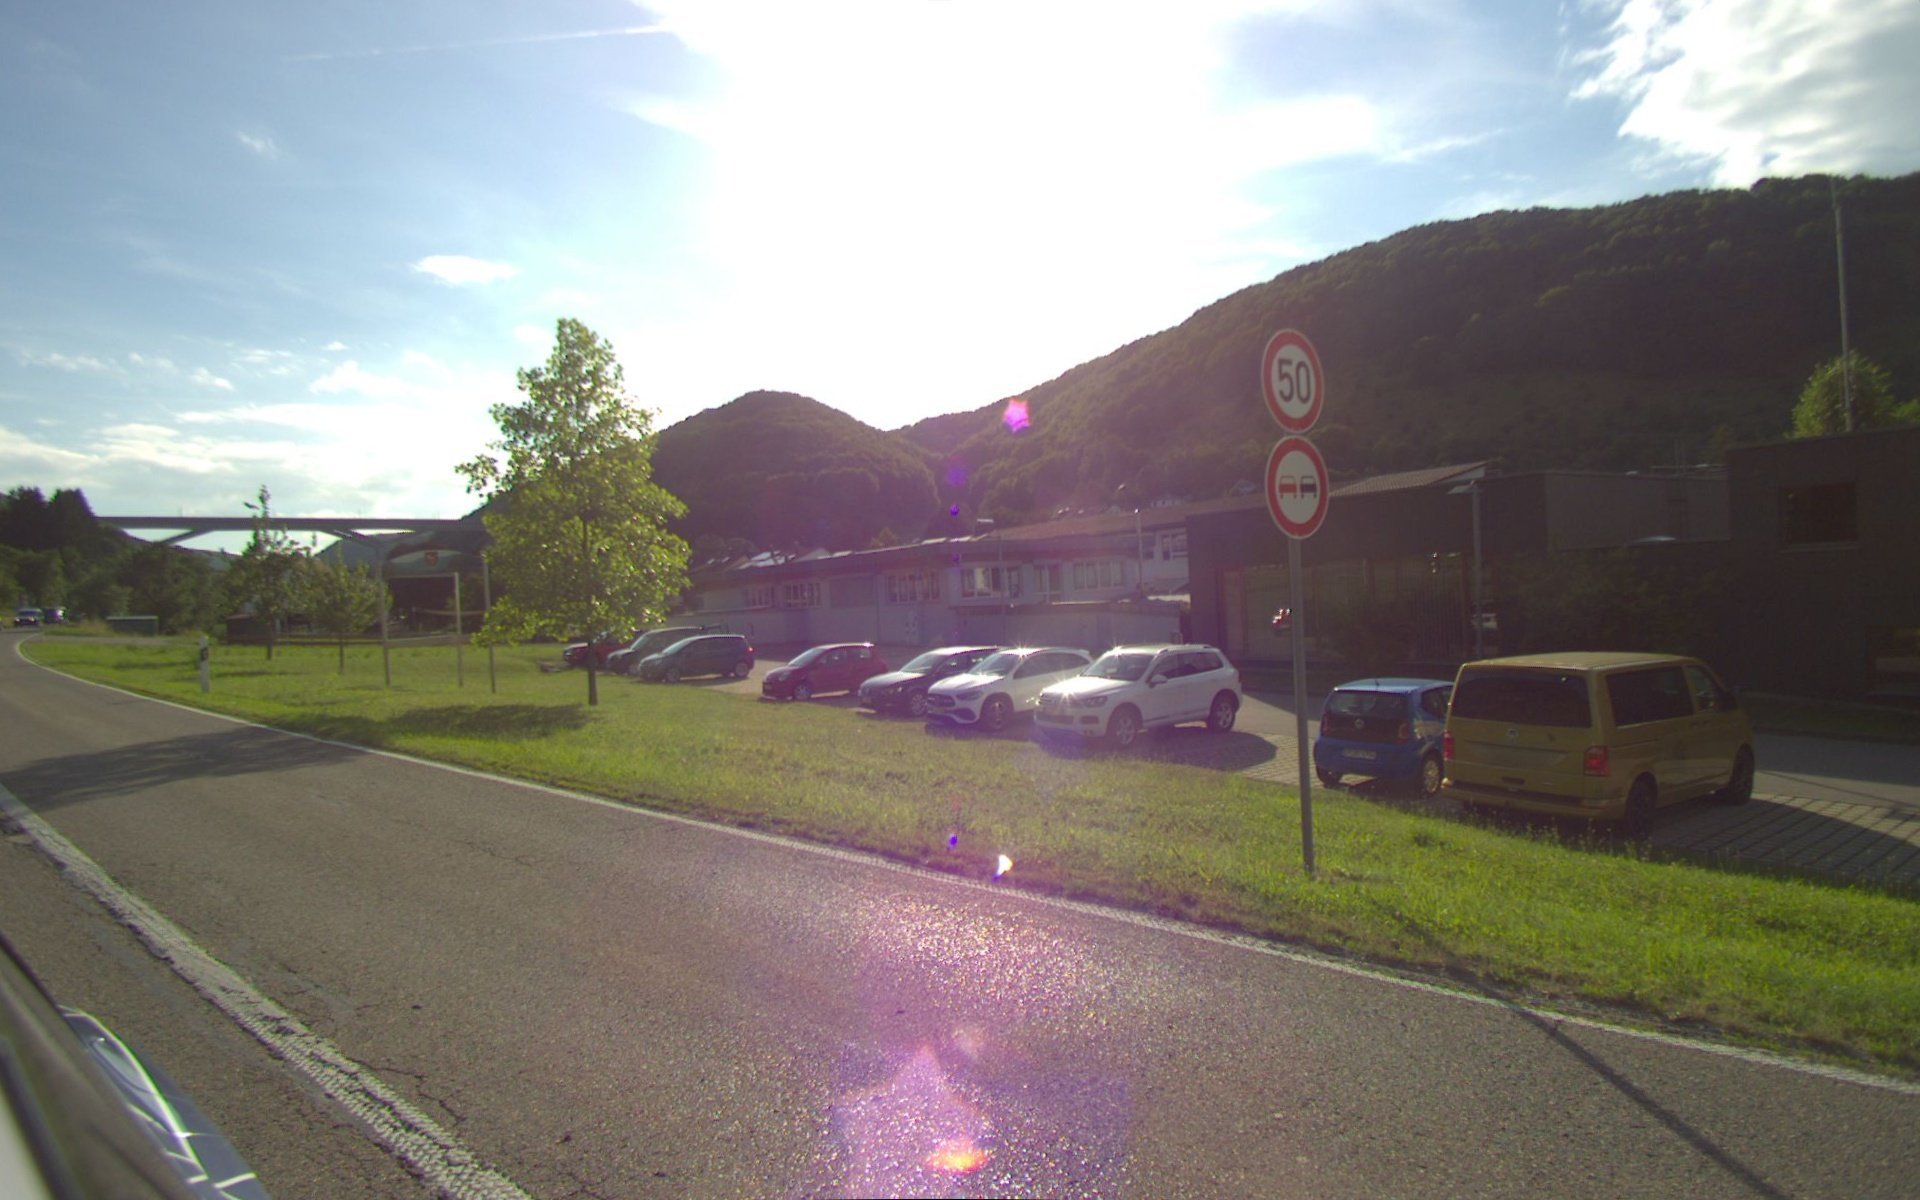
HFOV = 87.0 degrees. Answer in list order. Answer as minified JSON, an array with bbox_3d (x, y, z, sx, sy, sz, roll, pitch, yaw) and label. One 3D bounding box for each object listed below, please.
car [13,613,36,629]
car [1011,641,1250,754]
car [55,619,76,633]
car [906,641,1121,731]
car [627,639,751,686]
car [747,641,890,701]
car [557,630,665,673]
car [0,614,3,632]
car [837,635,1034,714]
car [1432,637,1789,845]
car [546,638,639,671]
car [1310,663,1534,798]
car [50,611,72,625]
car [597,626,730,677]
[{"bbox_3d":[-91.965,2.031,99.544,1.606,1.490,3.684,-1,0,-42],"label":"car"},{"bbox_3d":[3.349,1.758,19.472,4.480,1.716,2.004,-1,0,-37],"label":"car"},{"bbox_3d":[-103.553,2.982,117.163,1.605,1.490,3.687,-1,0,-38],"label":"car"},{"bbox_3d":[1.241,1.792,22.215,4.480,1.566,2.004,-1,0,-37],"label":"car"},{"bbox_3d":[-9.793,2.233,36.704,3.957,1.463,1.687,-1,-2,-39],"label":"car"},{"bbox_3d":[-3.964,1.959,28.548,3.672,1.408,1.619,-1,0,-37],"label":"car"},{"bbox_3d":[-15.641,2.287,45.400,4.262,1.682,1.853,-1,0,-33],"label":"car"},{"bbox_3d":[-81.306,1.936,84.544,1.605,1.490,3.687,-1,0,-38],"label":"car"},{"bbox_3d":[-0.546,1.733,24.704,4.480,1.566,2.004,-1,0,-37],"label":"car"},{"bbox_3d":[7.971,1.496,12.285,4.548,1.882,2.005,-1,0,-34],"label":"car"},{"bbox_3d":[-17.579,2.576,48.410,3.835,1.379,1.857,0,0,-36],"label":"car"},{"bbox_3d":[6.795,1.789,14.765,3.449,1.483,1.636,-1,0,-40],"label":"car"},{"bbox_3d":[-98.446,1.971,110.834,1.605,1.490,3.687,-1,0,-38],"label":"car"},{"bbox_3d":[-12.031,2.055,41.216,4.928,1.807,1.688,-1,0,-39],"label":"car"}]
